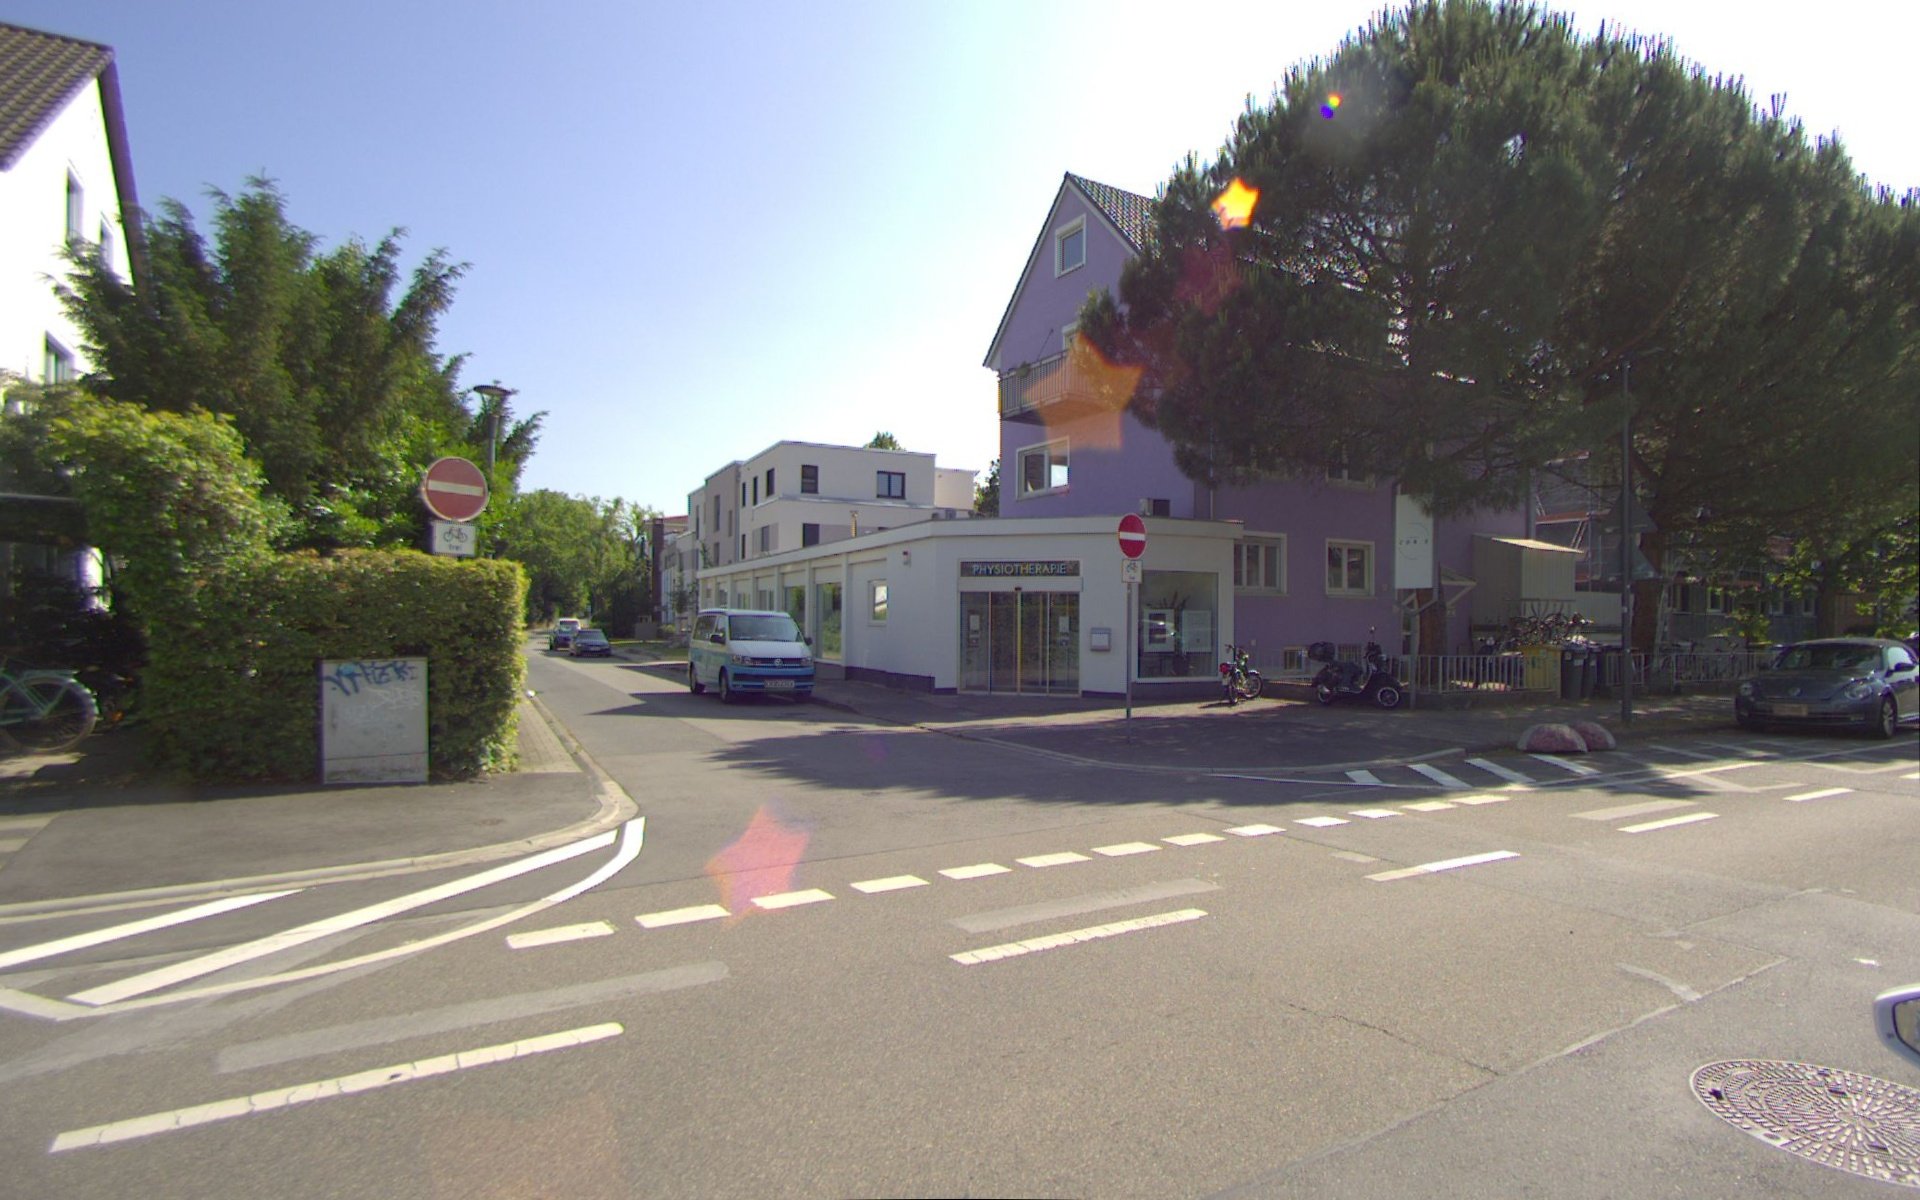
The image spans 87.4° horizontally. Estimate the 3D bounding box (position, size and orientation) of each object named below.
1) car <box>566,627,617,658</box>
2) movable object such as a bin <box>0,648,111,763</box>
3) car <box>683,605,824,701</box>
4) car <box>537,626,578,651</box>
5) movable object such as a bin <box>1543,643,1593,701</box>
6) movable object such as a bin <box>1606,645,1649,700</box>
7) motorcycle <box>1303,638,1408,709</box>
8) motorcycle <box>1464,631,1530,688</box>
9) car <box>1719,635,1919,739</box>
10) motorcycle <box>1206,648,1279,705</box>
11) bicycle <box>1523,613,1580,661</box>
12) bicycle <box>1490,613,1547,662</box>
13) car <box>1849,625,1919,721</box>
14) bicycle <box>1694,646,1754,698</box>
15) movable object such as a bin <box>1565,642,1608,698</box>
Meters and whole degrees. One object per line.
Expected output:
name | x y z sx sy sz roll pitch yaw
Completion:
car | -19.293 2.187 52.507 1.878 1.557 3.969 1 -2 -30
movable object such as a bin | -8.782 0.934 8.917 1.855 1.004 0.317 2 -1 -31
car | -4.727 1.133 22.481 1.887 1.913 4.496 2 -2 -28
car | -25.798 2.430 64.287 1.878 1.557 3.969 1 -2 -30
movable object such as a bin | 12.236 1.432 20.210 0.654 1.126 0.603 2 -1 -25
movable object such as a bin | 13.984 1.507 21.035 0.577 1.126 0.542 2 -1 -25
motorcycle | 7.166 1.299 18.280 0.634 1.197 1.834 2 -2 -25
motorcycle | 11.560 1.272 21.623 1.427 1.197 0.535 2 -2 -26
car | 14.080 1.297 16.088 4.041 1.479 1.771 1 -2 -33
motorcycle | 5.541 1.451 19.577 0.632 1.004 2.348 -1 -2 35
bicycle | 14.829 0.931 25.169 1.427 1.197 0.535 2 -2 -26
bicycle | 14.368 0.946 25.838 1.427 1.197 0.535 -1 0 -26
car | 18.766 1.343 19.002 4.214 1.699 1.897 2 -3 -34
bicycle | 17.621 1.643 23.144 1.954 1.161 0.371 2 -2 -30
movable object such as a bin | 12.754 1.417 20.457 0.425 1.126 0.603 1 -1 -25
